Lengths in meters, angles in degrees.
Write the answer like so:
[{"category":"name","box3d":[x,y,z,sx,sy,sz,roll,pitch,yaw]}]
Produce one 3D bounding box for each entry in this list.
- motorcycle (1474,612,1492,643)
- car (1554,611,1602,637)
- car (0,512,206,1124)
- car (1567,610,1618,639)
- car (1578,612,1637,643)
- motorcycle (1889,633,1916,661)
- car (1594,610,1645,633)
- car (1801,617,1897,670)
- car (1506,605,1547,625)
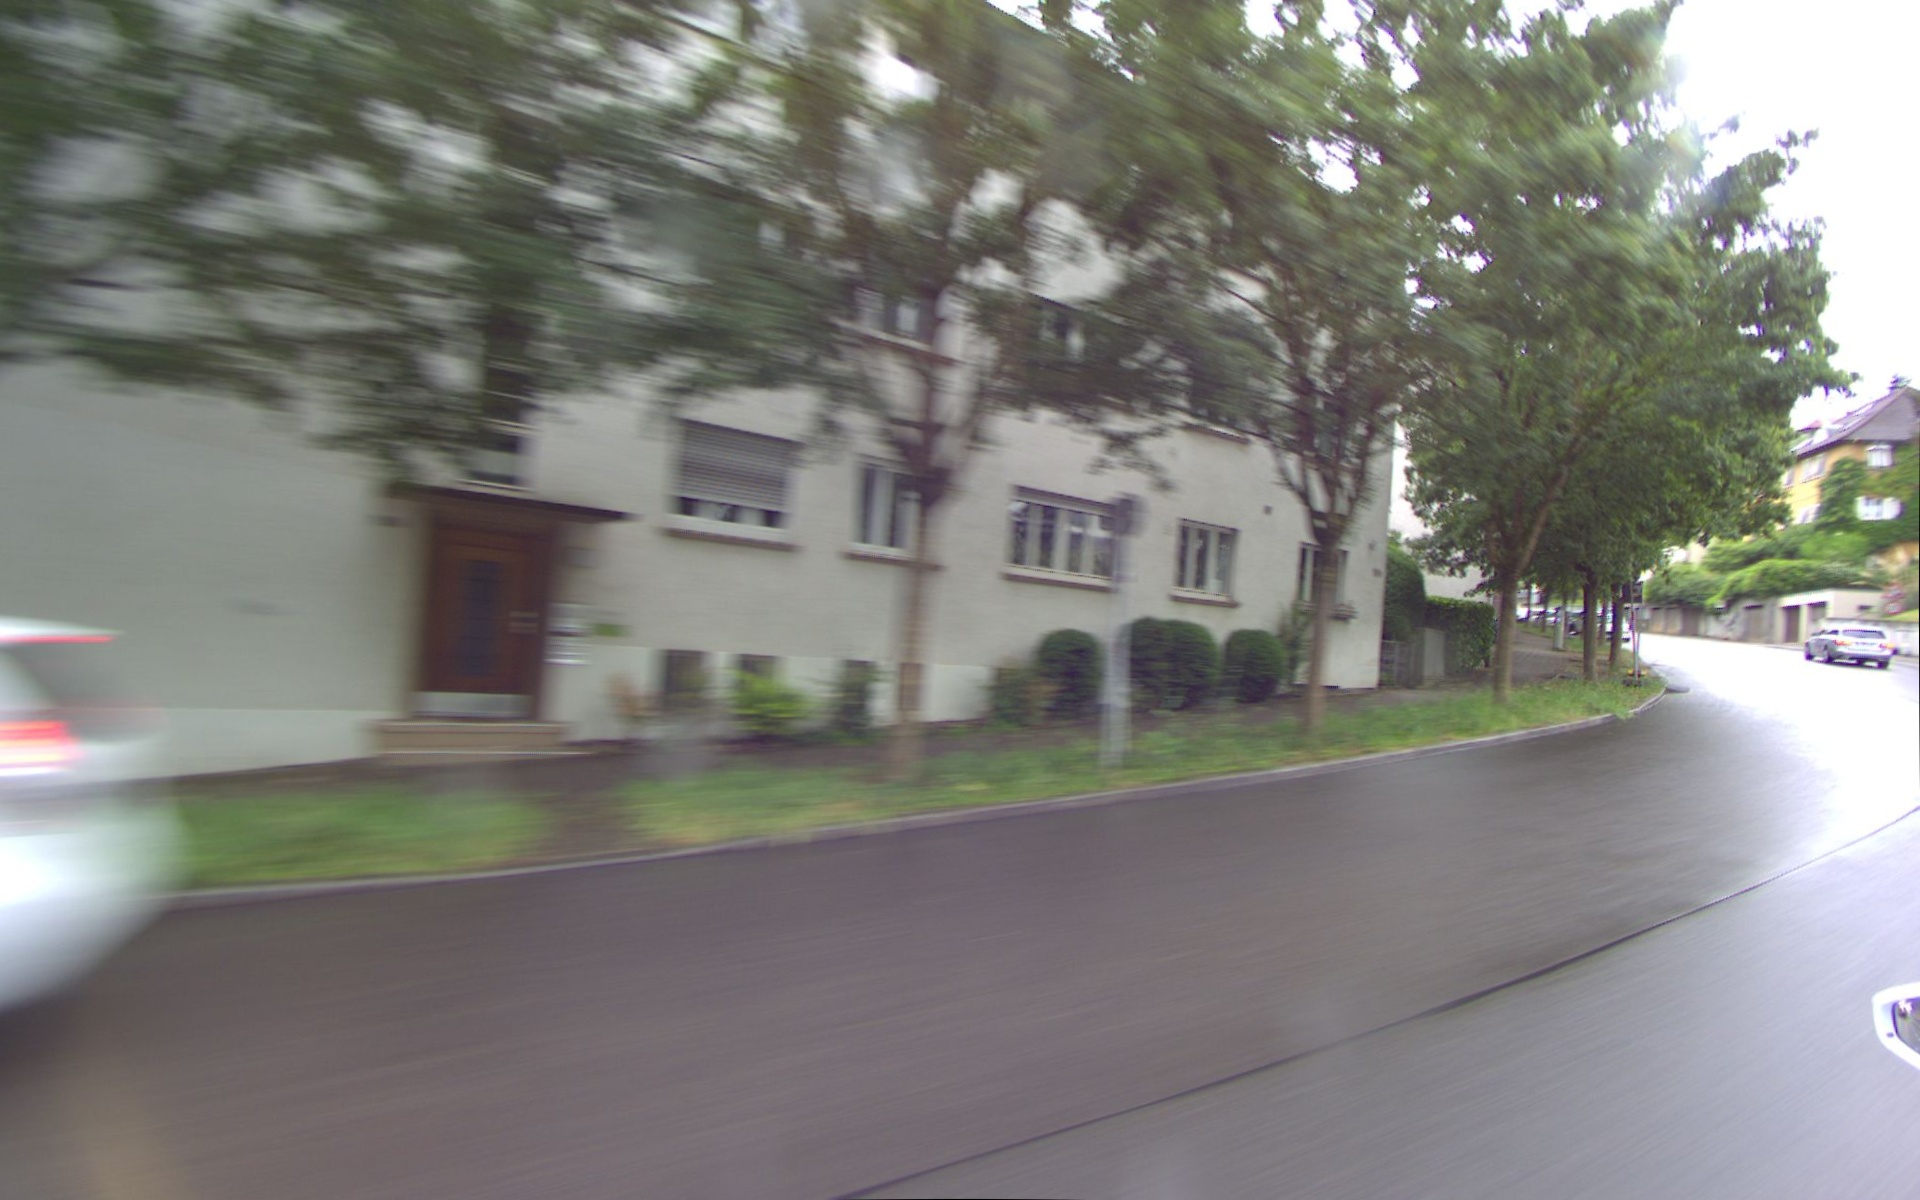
[{"category":"motorcycle","box3d":[22.016,1.141,42.301,0.604,1.174,1.696,4,3,27]},{"category":"car","box3d":[40.352,1.521,65.646,1.961,1.595,3.999,1,0,21]},{"category":"car","box3d":[-5.152,0.651,2.781,4.639,1.812,1.975,1,-3,-30]},{"category":"car","box3d":[38.146,1.448,60.648,1.847,1.617,3.999,2,0,21]},{"category":"car","box3d":[36.155,1.498,56.185,1.961,1.550,3.999,2,0,21]},{"category":"motorcycle","box3d":[41.444,2.046,44.178,0.540,1.147,1.437,2,0,32]},{"category":"car","box3d":[53.870,1.715,82.175,1.959,1.706,4.002,2,0,9]},{"category":"car","box3d":[33.126,1.569,37.567,1.922,1.582,4.252,3,3,32]},{"category":"car","box3d":[44.765,1.146,79.406,1.960,1.494,4.001,1,0,16]}]
